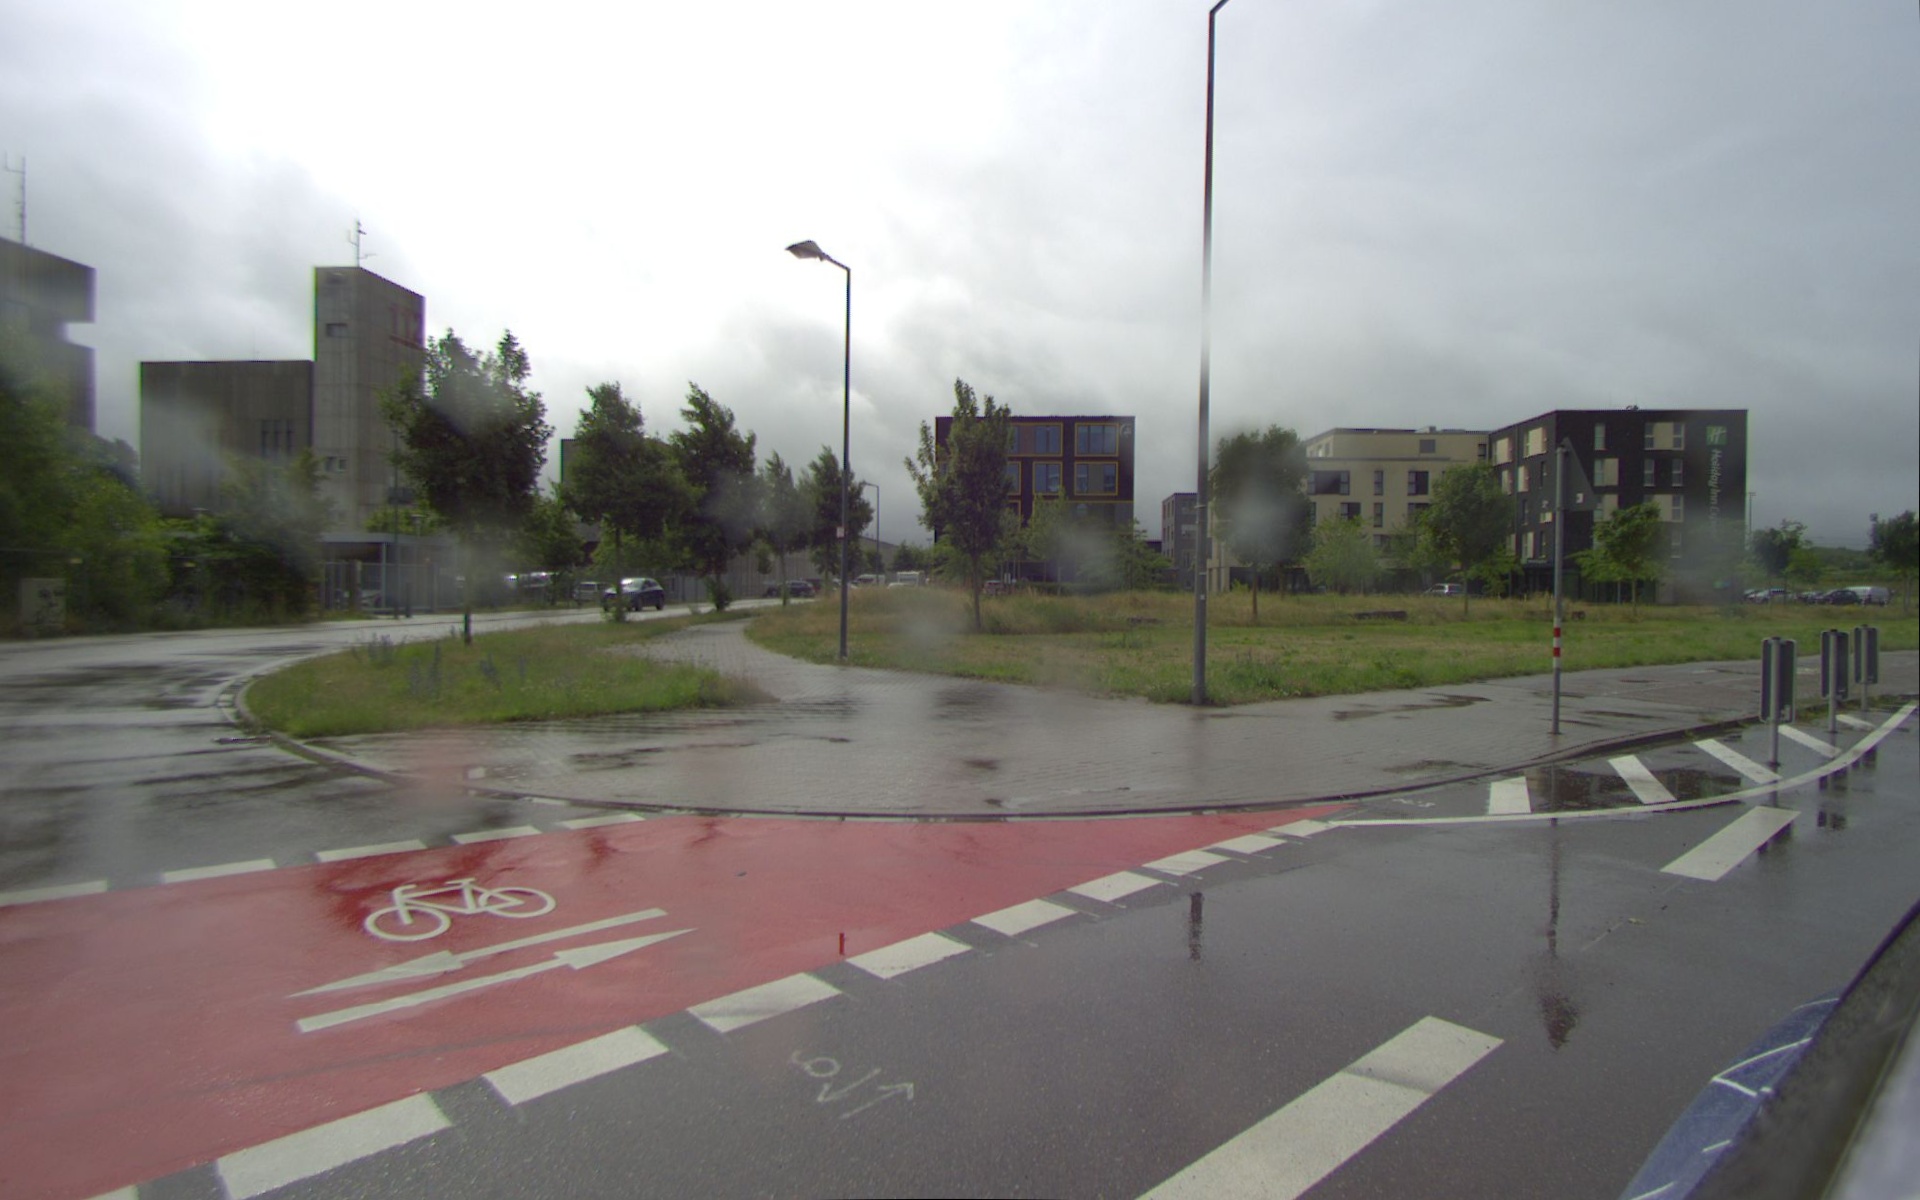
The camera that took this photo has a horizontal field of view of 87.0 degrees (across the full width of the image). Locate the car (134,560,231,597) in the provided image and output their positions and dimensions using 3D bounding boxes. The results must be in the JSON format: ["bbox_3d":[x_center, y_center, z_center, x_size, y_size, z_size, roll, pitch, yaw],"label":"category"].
[{"bbox_3d":[-35.741,-0.968,46.633,1.522,1.631,3.646,0,1,4],"label":"car"}]

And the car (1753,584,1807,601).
[{"bbox_3d":[76.226,-0.705,94.104,3.594,1.631,1.594,0,0,12],"label":"car"}]

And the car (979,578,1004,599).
[{"bbox_3d":[2.426,-0.879,79.233,1.616,1.603,3.671,0,1,-3],"label":"car"}]

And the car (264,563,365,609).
[{"bbox_3d":[-29.690,-0.652,46.684,1.964,2.039,3.996,0,1,4],"label":"car"}]

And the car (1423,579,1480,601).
[{"bbox_3d":[36.653,-0.729,75.432,3.591,1.603,1.652,0,0,-14],"label":"car"}]

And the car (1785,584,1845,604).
[{"bbox_3d":[73.705,-0.511,87.270,3.599,1.682,1.642,0,0,16],"label":"car"}]

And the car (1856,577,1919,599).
[{"bbox_3d":[86.920,-1.125,94.823,3.934,2.039,1.995,0,0,9],"label":"car"}]

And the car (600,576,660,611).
[{"bbox_3d":[-16.063,-0.315,49.485,1.571,1.631,3.596,0,1,4],"label":"car"}]
